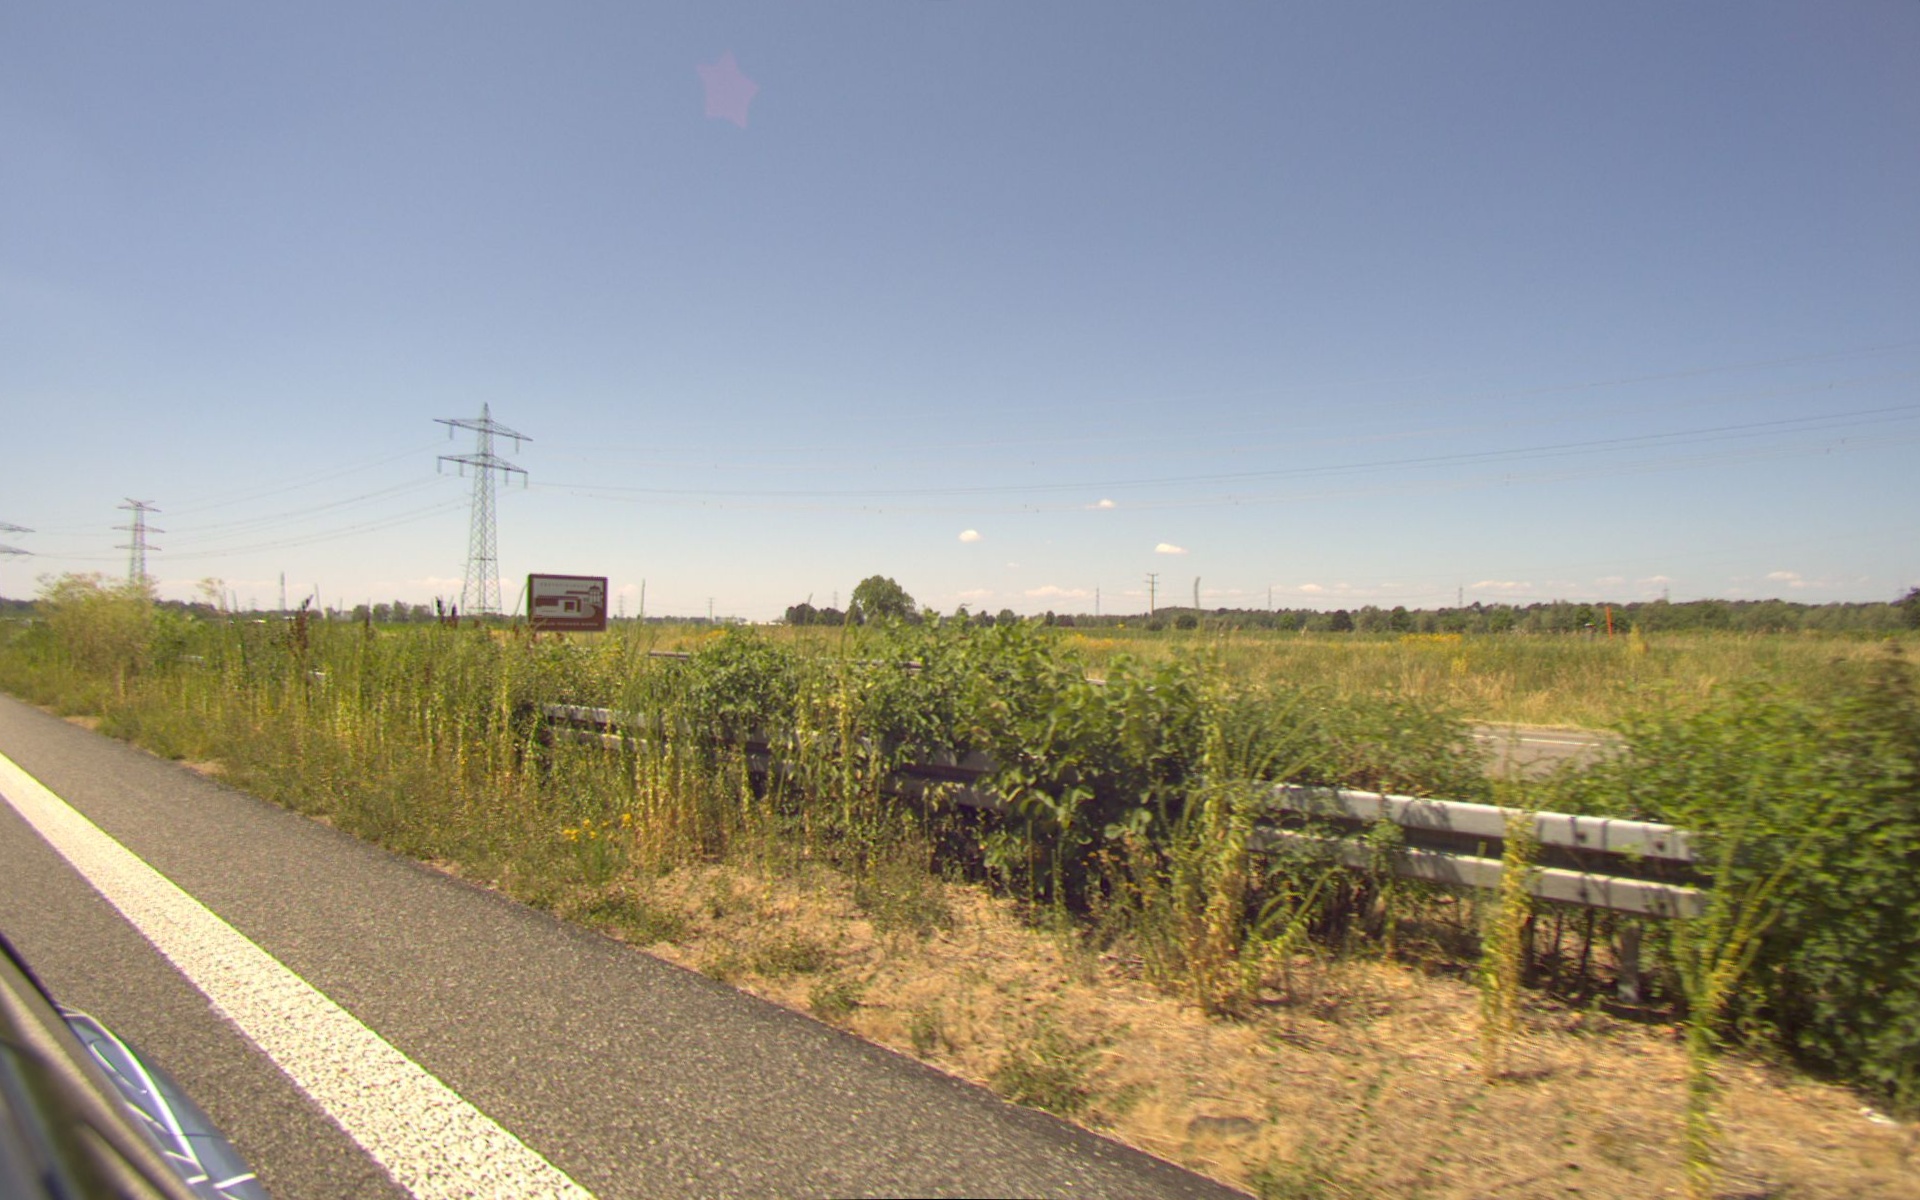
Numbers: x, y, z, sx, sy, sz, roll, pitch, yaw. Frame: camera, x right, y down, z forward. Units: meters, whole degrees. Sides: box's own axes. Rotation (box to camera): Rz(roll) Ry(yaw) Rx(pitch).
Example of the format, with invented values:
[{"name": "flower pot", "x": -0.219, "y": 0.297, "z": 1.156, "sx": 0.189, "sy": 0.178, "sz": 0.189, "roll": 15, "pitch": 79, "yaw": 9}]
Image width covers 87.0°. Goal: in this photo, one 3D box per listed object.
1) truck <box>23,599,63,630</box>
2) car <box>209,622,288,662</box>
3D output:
[{"name": "truck", "x": -125.149, "y": 1.958, "z": 138.086, "sx": 9.648, "sy": 4.115, "sz": 3.171, "roll": -1, "pitch": -2, "yaw": 43}, {"name": "car", "x": -31.880, "y": 1.840, "z": 45.299, "sx": 4.556, "sy": 1.667, "sz": 1.842, "roll": -1, "pitch": -1, "yaw": 41}]
